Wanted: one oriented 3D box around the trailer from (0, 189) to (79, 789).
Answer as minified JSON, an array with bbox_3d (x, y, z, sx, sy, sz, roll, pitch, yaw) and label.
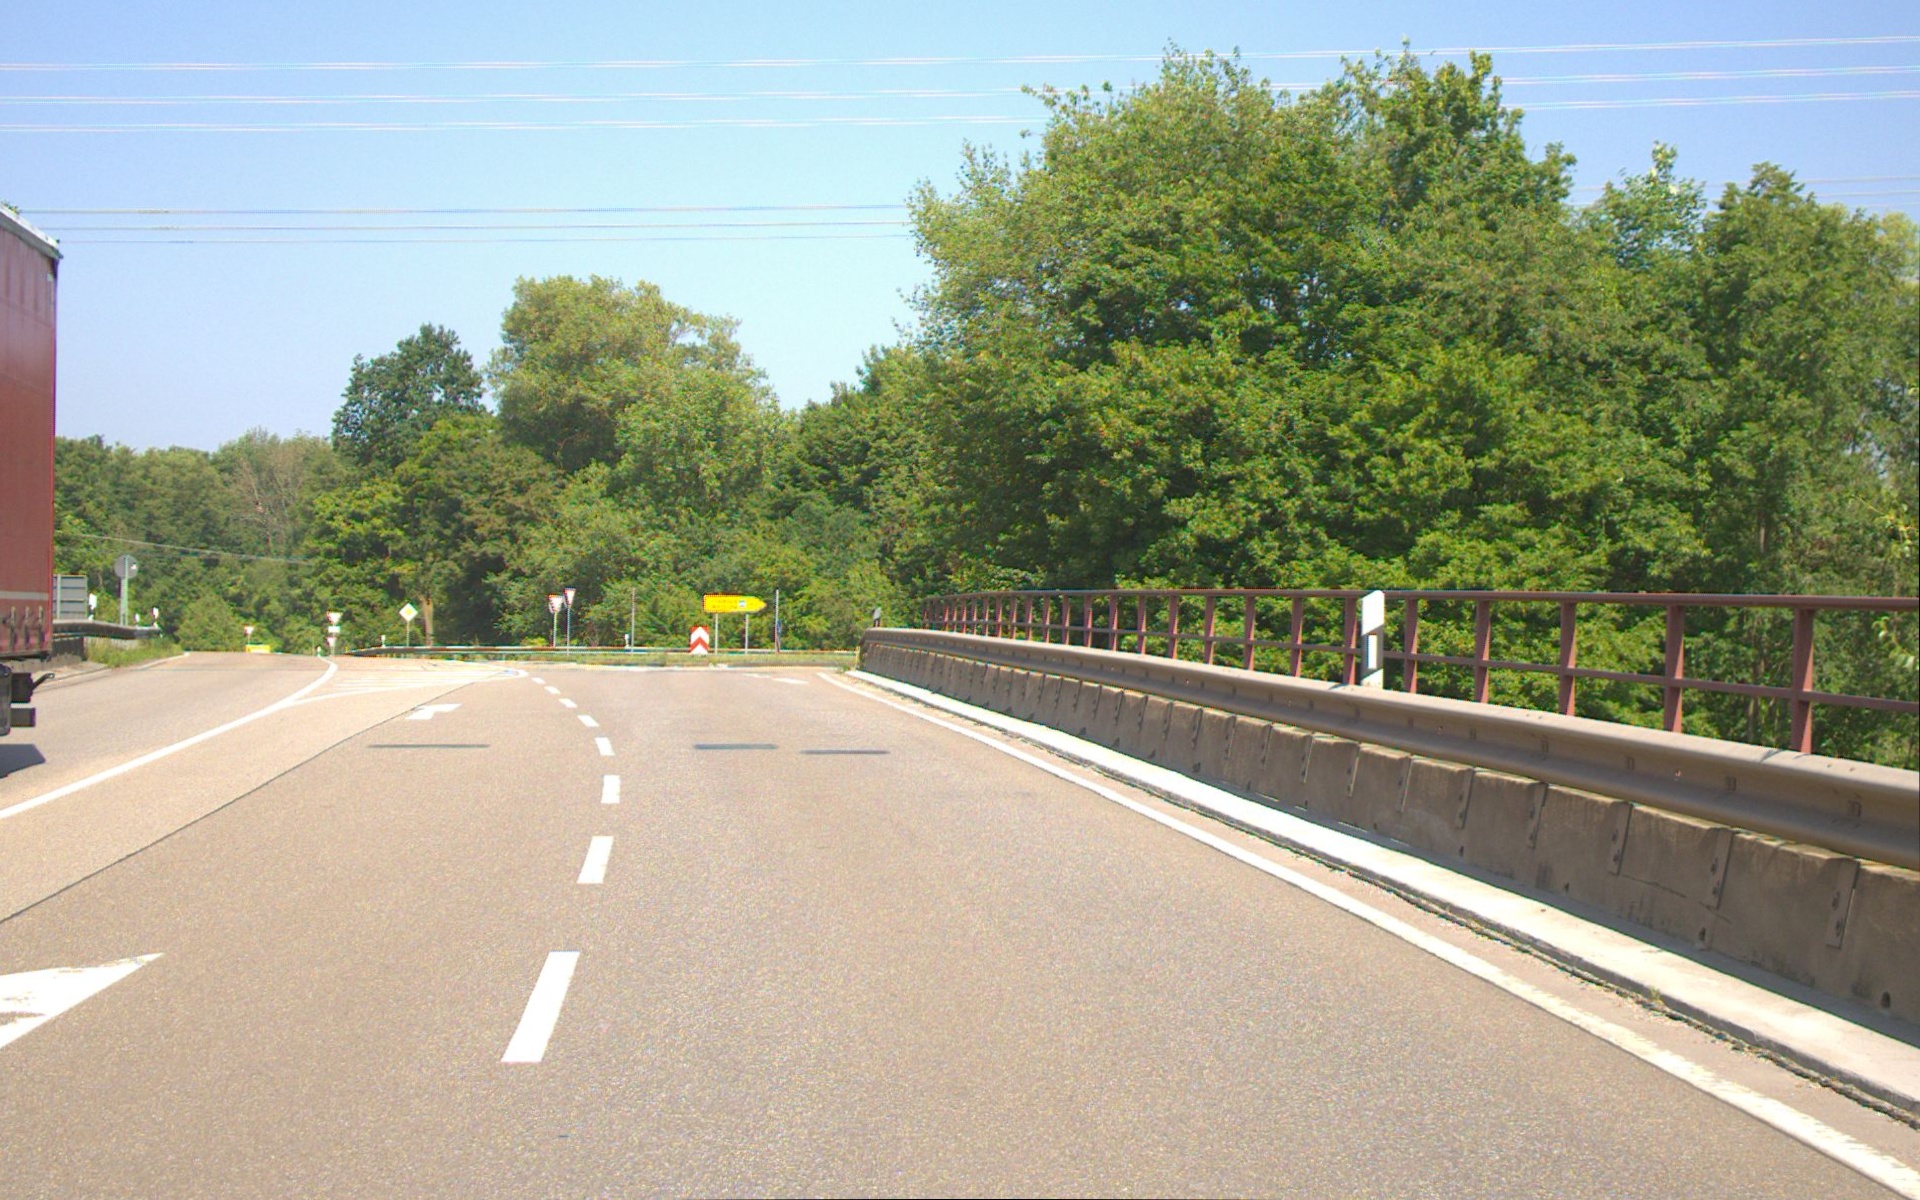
[{"bbox_3d":[-7.474,-0.732,19.319,2.768,4.048,14.202,0,0,-6],"label":"trailer"}]
